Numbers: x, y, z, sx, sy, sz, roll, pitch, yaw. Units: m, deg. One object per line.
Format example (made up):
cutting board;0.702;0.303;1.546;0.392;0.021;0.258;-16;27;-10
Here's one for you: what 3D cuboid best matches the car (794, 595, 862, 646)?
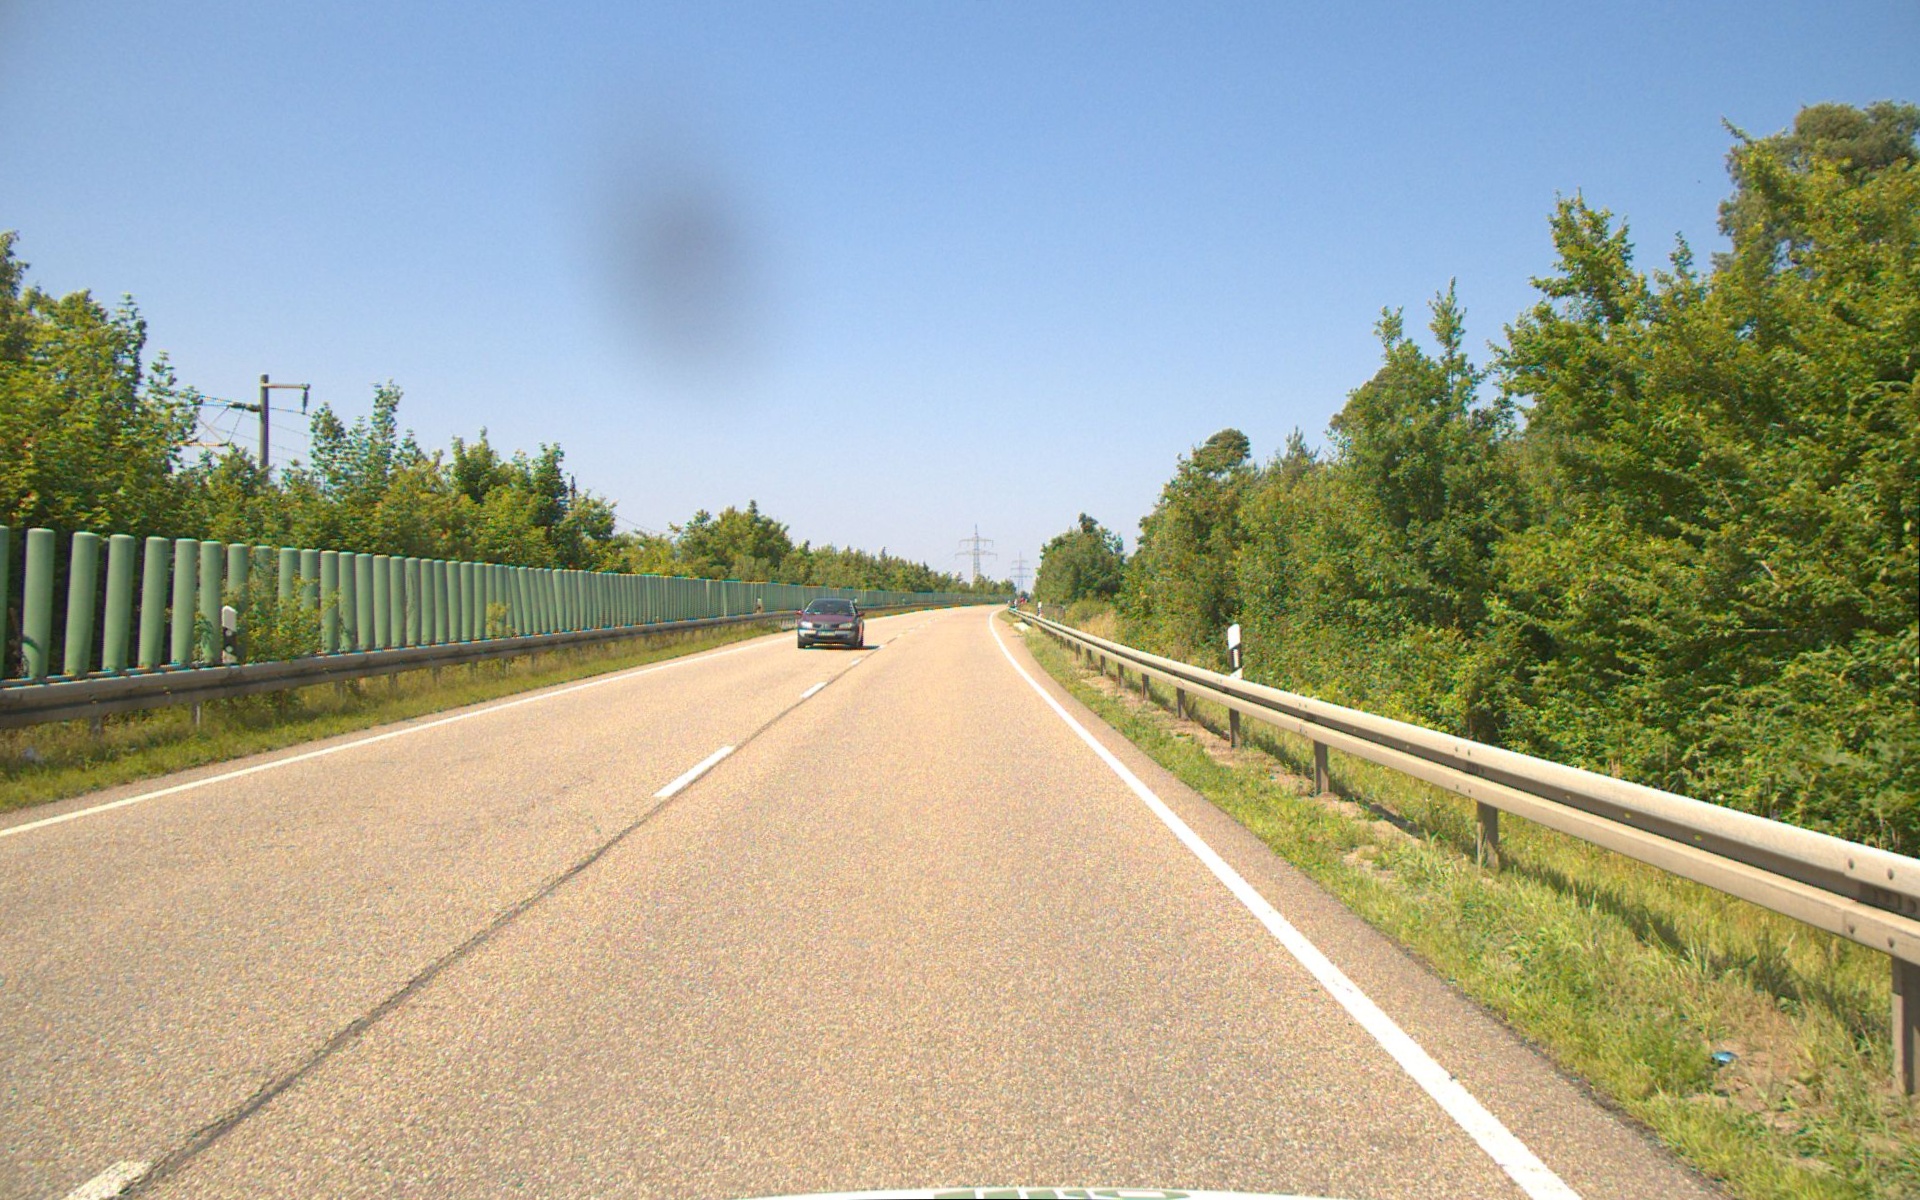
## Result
car;-3.801;0.572;47.992;1.750;1.395;3.895;1;0;-2
